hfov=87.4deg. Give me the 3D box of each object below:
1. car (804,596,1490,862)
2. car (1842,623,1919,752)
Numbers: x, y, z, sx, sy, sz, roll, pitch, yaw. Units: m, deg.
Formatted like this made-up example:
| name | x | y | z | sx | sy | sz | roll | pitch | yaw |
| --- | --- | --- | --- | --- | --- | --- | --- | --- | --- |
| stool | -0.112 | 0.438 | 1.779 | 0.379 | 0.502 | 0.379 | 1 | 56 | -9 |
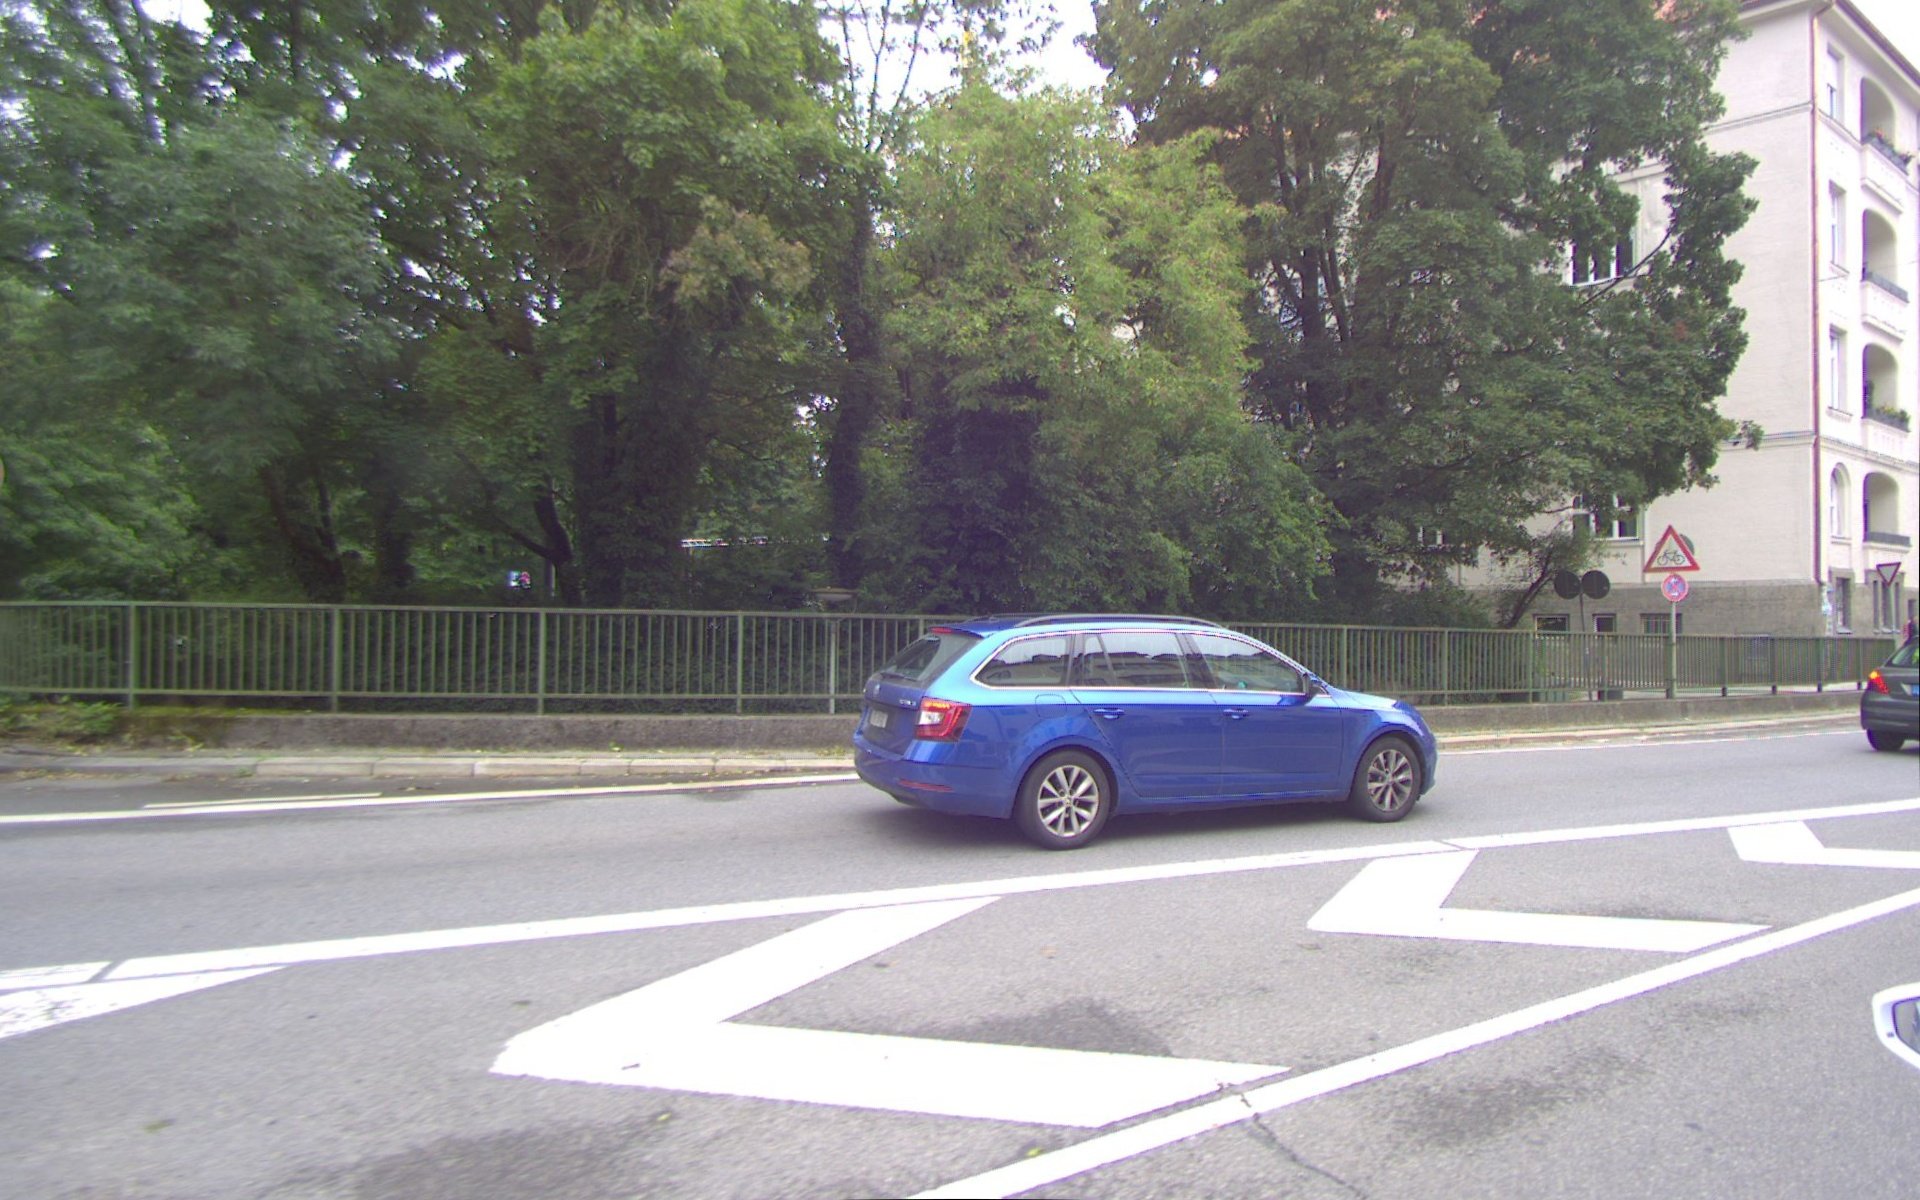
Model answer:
| name | x | y | z | sx | sy | sz | roll | pitch | yaw |
| --- | --- | --- | --- | --- | --- | --- | --- | --- | --- |
| car | 1.362 | 0.767 | 7.400 | 4.666 | 1.473 | 1.983 | 1 | -2 | -22 |
| car | 12.904 | 1.027 | 12.235 | 4.018 | 1.480 | 1.754 | 1 | -2 | -24 |
